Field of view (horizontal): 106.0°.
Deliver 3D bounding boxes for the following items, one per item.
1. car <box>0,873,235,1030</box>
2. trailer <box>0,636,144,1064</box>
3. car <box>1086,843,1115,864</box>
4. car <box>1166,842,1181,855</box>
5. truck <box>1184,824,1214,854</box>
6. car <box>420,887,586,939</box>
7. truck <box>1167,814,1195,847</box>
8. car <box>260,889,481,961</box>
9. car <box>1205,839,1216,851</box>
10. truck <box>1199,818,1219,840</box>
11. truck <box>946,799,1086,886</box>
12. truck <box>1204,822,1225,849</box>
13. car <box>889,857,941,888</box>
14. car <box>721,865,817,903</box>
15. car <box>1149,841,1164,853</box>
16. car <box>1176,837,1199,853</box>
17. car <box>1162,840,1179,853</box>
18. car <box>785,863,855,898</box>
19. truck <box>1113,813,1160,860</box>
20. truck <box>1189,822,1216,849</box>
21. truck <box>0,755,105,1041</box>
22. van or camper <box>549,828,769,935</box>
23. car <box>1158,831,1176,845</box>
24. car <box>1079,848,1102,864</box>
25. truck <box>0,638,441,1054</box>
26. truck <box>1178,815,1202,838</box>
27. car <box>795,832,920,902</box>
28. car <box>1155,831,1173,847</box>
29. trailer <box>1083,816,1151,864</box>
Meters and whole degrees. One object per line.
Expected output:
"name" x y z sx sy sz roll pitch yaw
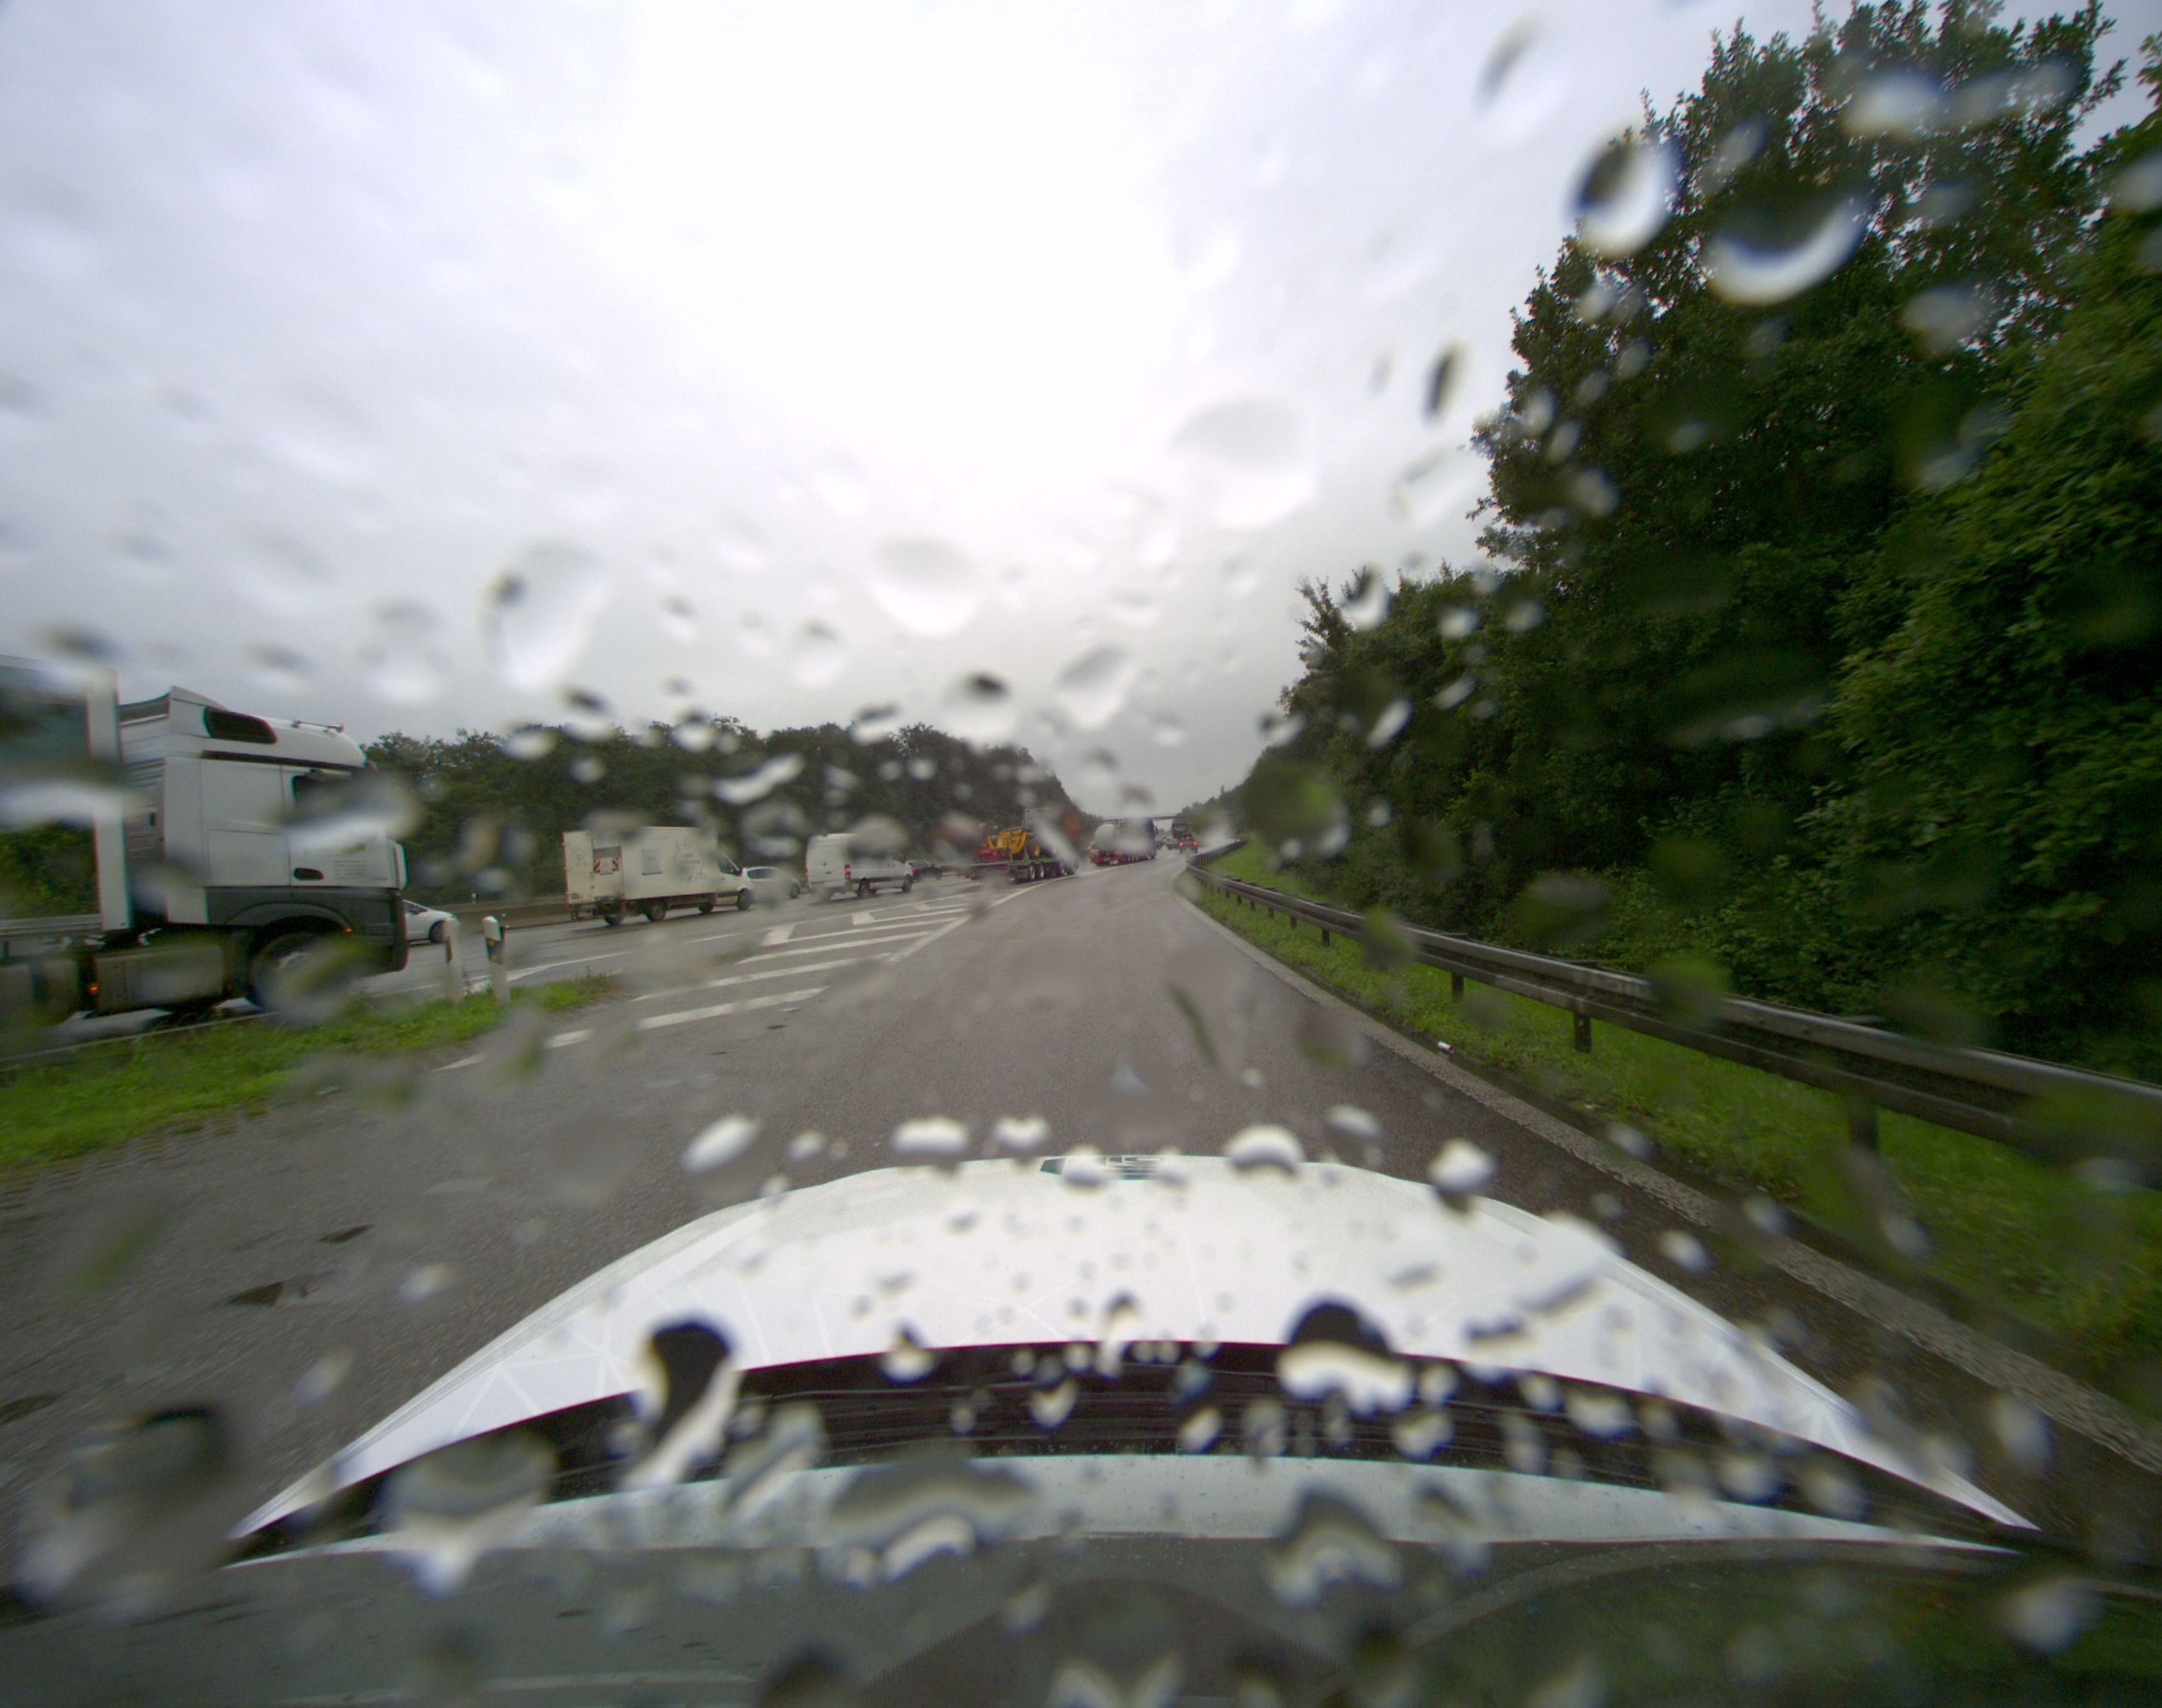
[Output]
"car" -19.192 1.752 13.150 2.131 2.488 7.398 -3 0 17
"trailer" -13.788 0.106 2.789 2.895 4.205 13.699 -4 0 18
"car" 1.821 -0.063 74.472 1.806 1.766 4.015 -3 1 14
"car" 13.814 -0.743 121.912 1.786 1.904 4.013 0 0 12
"truck" 17.859 -2.331 122.557 3.576 4.104 11.598 -4 1 11
"car" -21.010 2.085 29.895 1.731 1.425 4.855 -3 0 17
"truck" 17.699 -3.948 142.960 3.728 5.499 10.209 0 0 13
"car" -19.754 1.914 22.945 1.602 1.522 4.434 -3 0 17
"car" 23.450 -1.636 147.314 1.786 1.904 4.013 -3 -1 12
"truck" 25.618 -4.919 162.099 3.732 3.970 11.089 0 0 10
"truck" -2.840 -0.625 41.356 2.809 3.588 11.849 -4 0 16
"truck" 30.190 -4.065 184.265 4.308 5.763 9.760 0 0 11
"car" -11.223 1.198 55.267 1.784 2.013 4.017 0 0 16
"car" -15.213 1.431 40.019 1.852 1.522 4.650 -3 0 16
"car" 12.182 -1.106 132.082 1.785 1.904 4.014 -4 -1 13
"car" 11.067 -0.938 84.365 1.980 1.636 4.014 0 0 13
"car" 21.857 -1.785 198.613 3.224 3.002 6.797 0 0 13
"car" -14.836 1.499 46.549 1.762 1.706 4.018 -3 0 17
"truck" 4.831 -1.545 70.083 2.855 3.693 5.078 -4 1 16
"truck" 20.780 -3.019 138.329 3.482 4.268 10.643 0 0 14
"truck" -16.253 0.691 10.014 2.607 3.864 4.609 -4 0 16
"van or camper" -14.540 0.817 28.877 2.560 3.204 7.161 -3 0 16
"car" 18.645 -3.439 176.066 3.224 3.002 6.797 0 0 13
"car" 1.246 0.228 102.951 1.980 1.772 4.150 -3 0 13
"truck" -11.804 -0.022 9.029 2.895 4.099 6.750 -4 0 18
"truck" 22.341 -5.590 166.663 3.551 4.095 10.918 -3 -1 13
"car" -9.236 0.460 34.373 2.198 2.629 5.869 -3 0 16
"car" 16.703 -3.049 163.676 3.075 3.002 6.794 0 0 11
"trailer" 3.010 -1.129 63.613 2.852 3.288 10.121 -4 1 16
